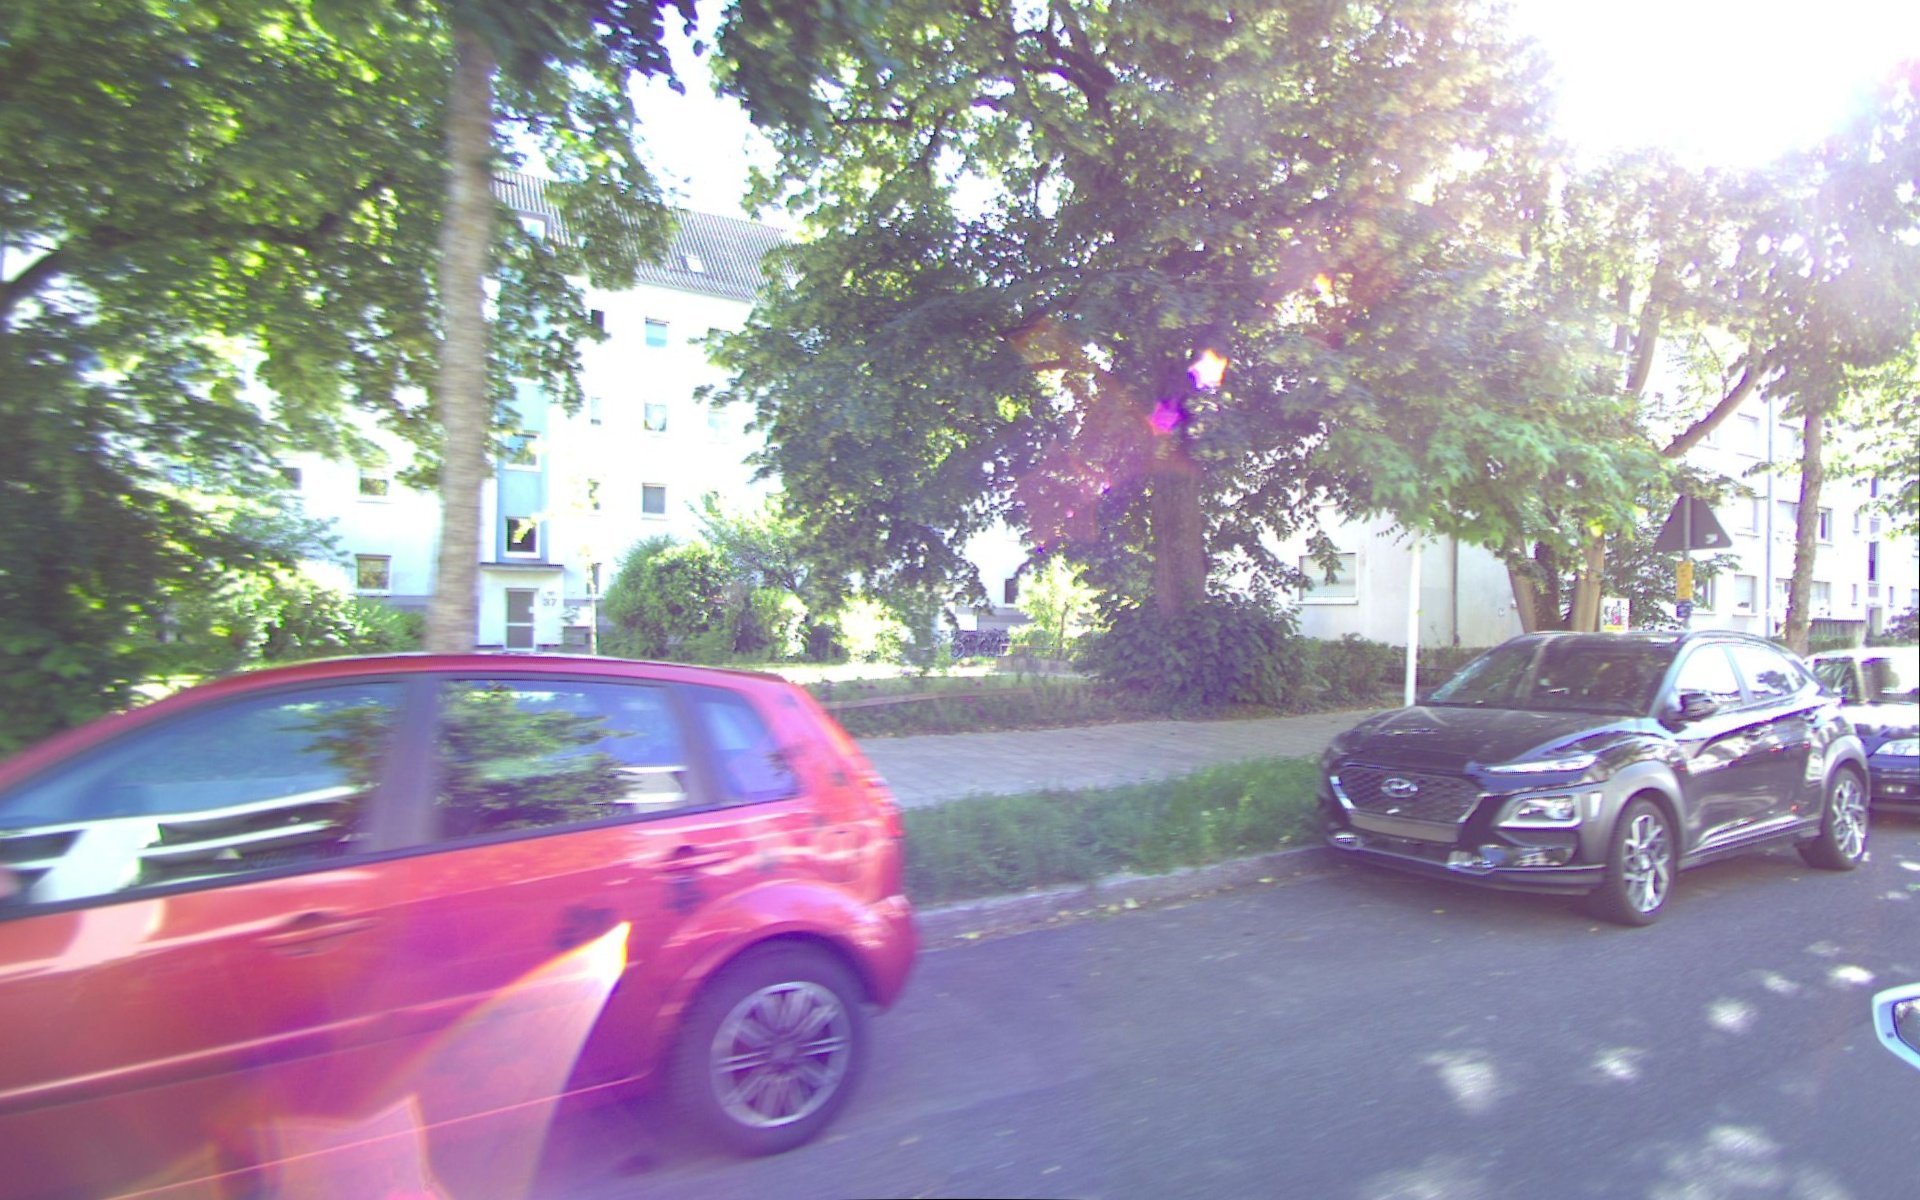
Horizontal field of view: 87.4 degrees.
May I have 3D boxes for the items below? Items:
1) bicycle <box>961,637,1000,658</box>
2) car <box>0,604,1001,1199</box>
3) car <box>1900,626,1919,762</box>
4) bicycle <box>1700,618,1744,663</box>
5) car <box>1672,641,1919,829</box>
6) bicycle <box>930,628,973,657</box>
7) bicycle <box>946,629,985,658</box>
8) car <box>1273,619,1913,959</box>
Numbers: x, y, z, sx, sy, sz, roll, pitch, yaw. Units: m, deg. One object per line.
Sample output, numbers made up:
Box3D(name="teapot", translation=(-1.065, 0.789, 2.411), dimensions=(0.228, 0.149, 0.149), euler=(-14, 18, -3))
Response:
Box3D(name="bicycle", translation=(0.813, 1.870, 39.819), dimensions=(0.556, 0.785, 1.948), euler=(1, -1, -33))
Box3D(name="car", translation=(-1.994, 0.796, 2.948), dimensions=(4.024, 1.524, 1.645), euler=(1, -2, -32))
Box3D(name="car", translation=(13.270, 1.119, 12.034), dimensions=(4.367, 1.551, 1.761), euler=(1, -1, -30))
Box3D(name="bicycle", translation=(22.839, 1.218, 30.101), dimensions=(1.892, 1.306, 0.396), euler=(1, -1, -32))
Box3D(name="car", translation=(8.638, 1.082, 9.326), dimensions=(4.432, 1.370, 1.775), euler=(1, -2, -32))
Box3D(name="bicycle", translation=(-0.327, 1.655, 39.004), dimensions=(0.720, 1.066, 1.948), euler=(1, -1, -33))
Box3D(name="bicycle", translation=(0.217, 1.696, 39.440), dimensions=(0.556, 1.066, 1.948), euler=(1, -1, -33))
Box3D(name="car", translation=(4.268, 0.952, 6.591), dimensions=(4.428, 1.598, 1.698), euler=(1, -2, -30))
